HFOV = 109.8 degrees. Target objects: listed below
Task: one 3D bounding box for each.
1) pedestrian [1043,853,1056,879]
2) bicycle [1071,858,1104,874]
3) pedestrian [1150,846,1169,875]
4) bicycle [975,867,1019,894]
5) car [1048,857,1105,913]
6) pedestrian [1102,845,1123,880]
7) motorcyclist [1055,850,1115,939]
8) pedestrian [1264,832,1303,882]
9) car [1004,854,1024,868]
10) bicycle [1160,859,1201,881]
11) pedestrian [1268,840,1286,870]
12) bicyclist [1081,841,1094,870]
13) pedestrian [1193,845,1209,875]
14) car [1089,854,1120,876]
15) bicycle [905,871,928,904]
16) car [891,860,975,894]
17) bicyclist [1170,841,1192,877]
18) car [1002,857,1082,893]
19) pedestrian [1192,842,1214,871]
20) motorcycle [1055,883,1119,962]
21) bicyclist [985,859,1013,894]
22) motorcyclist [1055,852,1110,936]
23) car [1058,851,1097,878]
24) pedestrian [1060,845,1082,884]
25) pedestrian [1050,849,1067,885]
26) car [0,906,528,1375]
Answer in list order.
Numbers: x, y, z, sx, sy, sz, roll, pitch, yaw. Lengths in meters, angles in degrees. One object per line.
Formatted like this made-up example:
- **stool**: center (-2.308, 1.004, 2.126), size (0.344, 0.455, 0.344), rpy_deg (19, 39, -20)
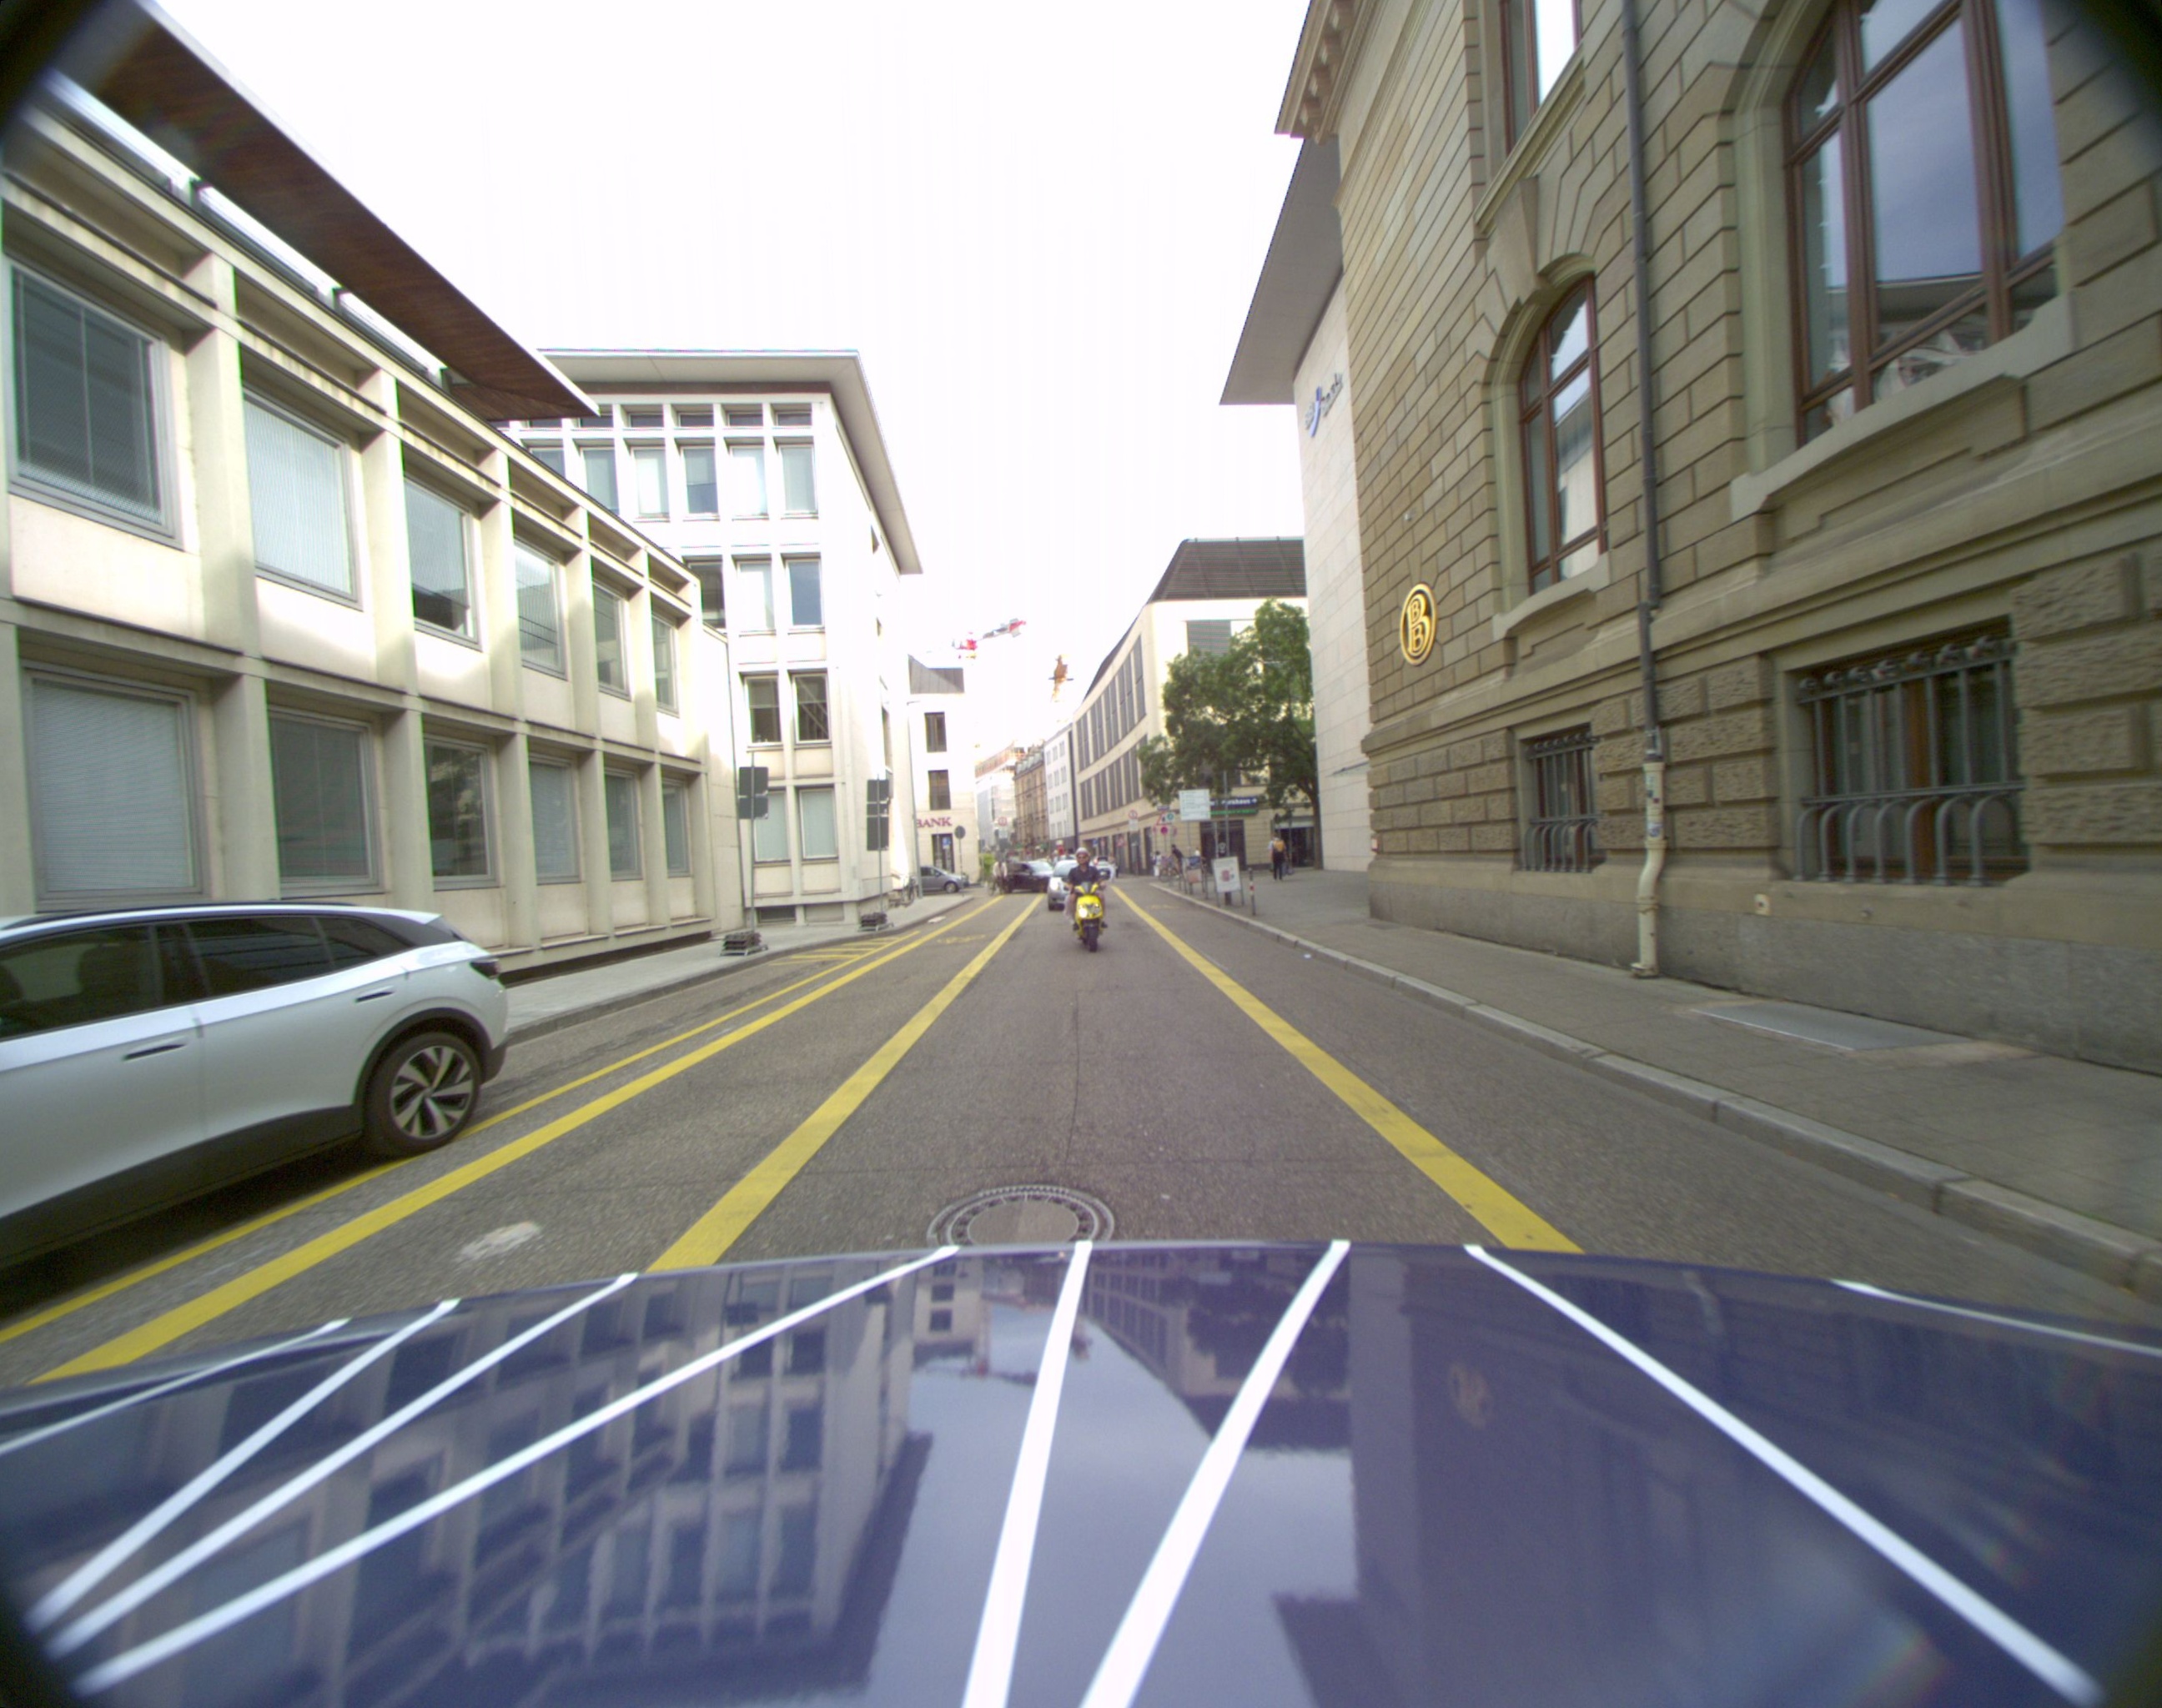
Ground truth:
- **pedestrian**: center (-2.294, 0.880, 55.951), size (0.861, 1.820, 0.774), rpy_deg (-3, 1, -2)
- **bicycle**: center (0.360, 0.653, 43.035), size (1.769, 0.792, 0.663), rpy_deg (-3, 1, -4)
- **pedestrian**: center (4.787, 0.382, 46.347), size (0.879, 1.699, 0.910), rpy_deg (-7, 1, -1)
- **bicycle**: center (-3.971, 1.228, 35.740), size (0.872, 1.188, 2.857), rpy_deg (-4, 1, -31)
- **car**: center (-0.159, 0.906, 23.931), size (1.562, 1.482, 3.783), rpy_deg (-3, 1, -1)
- **pedestrian**: center (1.722, 0.457, 41.468), size (0.774, 1.820, 0.860), rpy_deg (-4, 1, -21)
- **motorcyclist**: center (0.056, 0.677, 13.128), size (0.924, 1.445, 1.065), rpy_deg (-2, 0, -4)
- **pedestrian**: center (7.296, 0.105, 27.438), size (1.028, 1.710, 0.818), rpy_deg (-5, 1, 0)
- **car**: center (-7.717, 0.819, 87.373), size (1.590, 1.477, 3.995), rpy_deg (-3, 1, -14)
- **bicycle**: center (4.682, 0.767, 35.839), size (1.721, 0.829, 0.603), rpy_deg (-8, -2, 36)
- **pedestrian**: center (12.070, 0.057, 46.792), size (0.648, 1.820, 0.861), rpy_deg (-3, 1, -14)
- **bicyclist**: center (0.357, 0.100, 43.021), size (0.586, 1.586, 0.663), rpy_deg (-3, 1, -3)
- **pedestrian**: center (7.492, 0.372, 47.447), size (0.648, 1.820, 0.861), rpy_deg (-3, 1, -14)
- **car**: center (1.736, 0.793, 56.892), size (1.563, 1.547, 4.100), rpy_deg (-4, 1, -8)
- **bicycle**: center (-6.374, 1.292, 29.430), size (0.590, 1.160, 1.814), rpy_deg (-3, 1, -5)
- **car**: center (-8.018, 1.221, 41.379), size (4.194, 1.581, 1.814), rpy_deg (-3, 1, -3)
- **bicyclist**: center (4.697, 0.222, 35.784), size (0.642, 1.609, 0.624), rpy_deg (-6, 0, 36)
- **car**: center (-1.859, 0.985, 35.289), size (1.720, 1.482, 3.755), rpy_deg (-4, 1, -39)
- **pedestrian**: center (7.843, 0.148, 48.977), size (1.060, 1.755, 0.892), rpy_deg (-7, 1, -5)
- **motorcycle**: center (0.058, 1.143, 13.229), size (0.930, 1.158, 2.126), rpy_deg (-2, 0, -4)
- **bicyclist**: center (-3.837, 1.052, 35.482), size (0.894, 1.585, 0.875), rpy_deg (-4, 1, -31)
- **motorcyclist**: center (0.020, 0.704, 13.697), size (0.904, 1.445, 0.741), rpy_deg (-2, 0, -4)
- **car**: center (-0.251, 0.633, 47.525), size (1.710, 1.482, 4.099), rpy_deg (-4, 1, -9)
- **pedestrian**: center (-0.483, 0.526, 36.885), size (0.745, 1.804, 0.756), rpy_deg (-7, 1, -12)
- **pedestrian**: center (-1.110, 0.635, 37.507), size (0.644, 1.755, 0.653), rpy_deg (-4, 1, -12)
- **car**: center (-5.007, 1.228, 3.150), size (1.864, 1.595, 4.513), rpy_deg (-5, -1, 3)
